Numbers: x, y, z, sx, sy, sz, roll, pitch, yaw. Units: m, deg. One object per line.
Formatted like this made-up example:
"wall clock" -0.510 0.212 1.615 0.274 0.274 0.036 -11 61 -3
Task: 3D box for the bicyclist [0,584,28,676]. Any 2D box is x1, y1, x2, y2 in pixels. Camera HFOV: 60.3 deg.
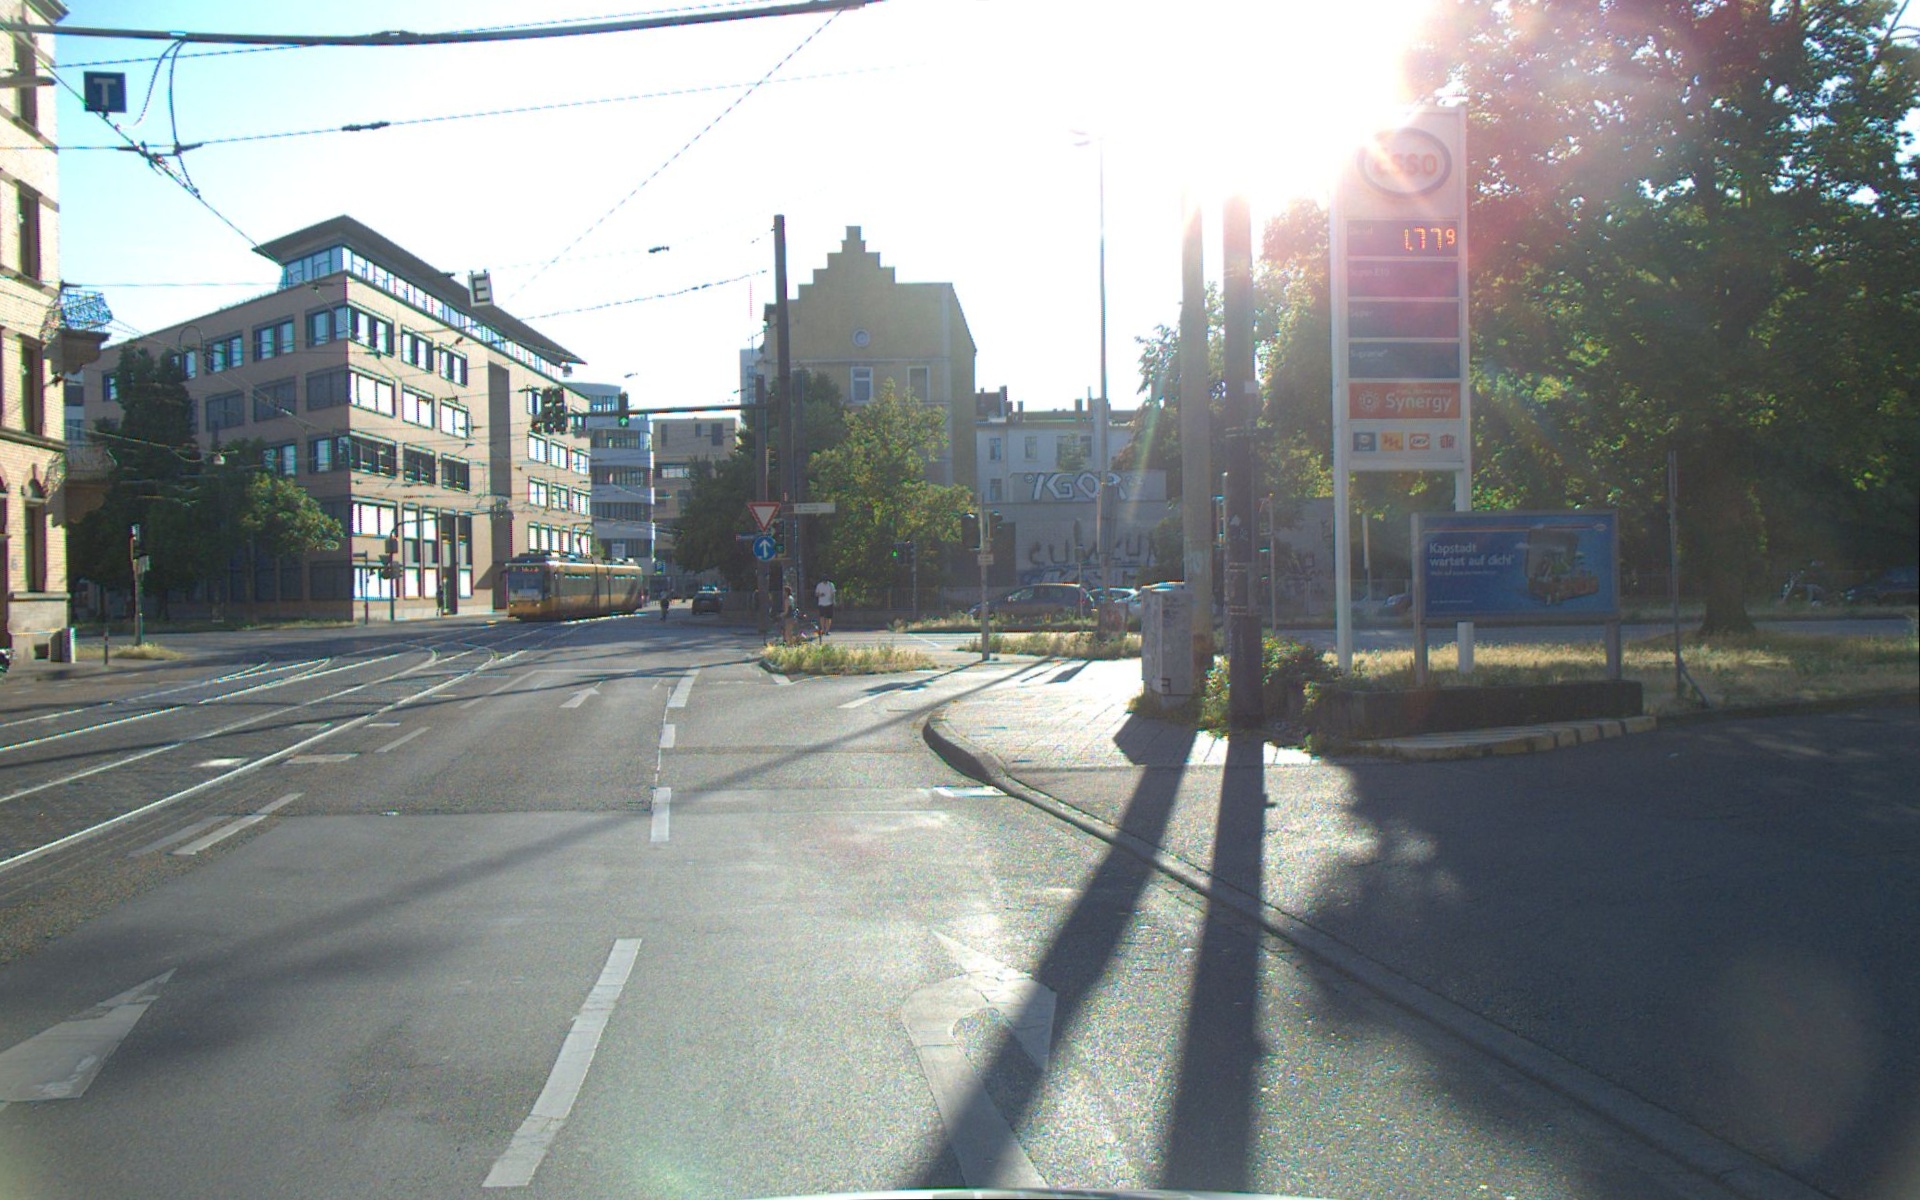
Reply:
"bicyclist" -16.495 0.514 28.170 0.828 1.540 0.799 -1 0 -11

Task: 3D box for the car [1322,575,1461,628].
"car" 13.009 0.040 50.061 3.902 1.478 1.688 -1 0 10

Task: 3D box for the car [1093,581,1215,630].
"car" 6.541 0.182 55.678 3.902 1.534 1.674 -1 0 12

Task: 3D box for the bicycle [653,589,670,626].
"bicycle" -14.786 0.366 81.898 0.554 1.838 1.358 -1 0 0

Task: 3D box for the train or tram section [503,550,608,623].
"train or tram section" -21.921 -0.703 90.541 2.195 3.637 14.276 -1 0 0

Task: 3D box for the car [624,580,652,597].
"car" -29.117 -1.016 149.467 1.758 1.434 3.999 -1 0 -1

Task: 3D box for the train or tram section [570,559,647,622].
"train or tram section" -21.897 -0.594 103.726 2.177 3.642 12.208 -1 0 0

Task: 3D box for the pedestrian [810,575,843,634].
"pedestrian" -3.988 0.140 49.554 0.907 1.721 0.777 -1 0 -2

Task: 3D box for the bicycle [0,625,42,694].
"bicycle" -16.469 1.007 28.069 0.929 1.117 1.993 -1 0 -10

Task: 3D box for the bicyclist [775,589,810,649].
"bicyclist" -4.069 0.461 40.236 0.788 1.438 0.623 -1 0 -5

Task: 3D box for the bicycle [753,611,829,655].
"bicycle" -4.088 0.798 40.216 1.797 1.002 0.733 -2 0 -5

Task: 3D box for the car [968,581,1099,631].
"car" 2.361 0.188 52.844 3.902 1.478 1.811 -1 0 13

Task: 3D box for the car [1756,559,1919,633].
"car" 25.950 -0.110 48.913 3.902 2.049 1.936 -1 0 8

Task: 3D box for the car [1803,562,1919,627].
"car" 29.868 -0.193 54.027 3.904 2.049 1.935 -1 0 20

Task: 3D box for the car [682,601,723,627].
"car" -16.026 0.848 103.112 1.953 1.489 3.999 -2 0 -2
